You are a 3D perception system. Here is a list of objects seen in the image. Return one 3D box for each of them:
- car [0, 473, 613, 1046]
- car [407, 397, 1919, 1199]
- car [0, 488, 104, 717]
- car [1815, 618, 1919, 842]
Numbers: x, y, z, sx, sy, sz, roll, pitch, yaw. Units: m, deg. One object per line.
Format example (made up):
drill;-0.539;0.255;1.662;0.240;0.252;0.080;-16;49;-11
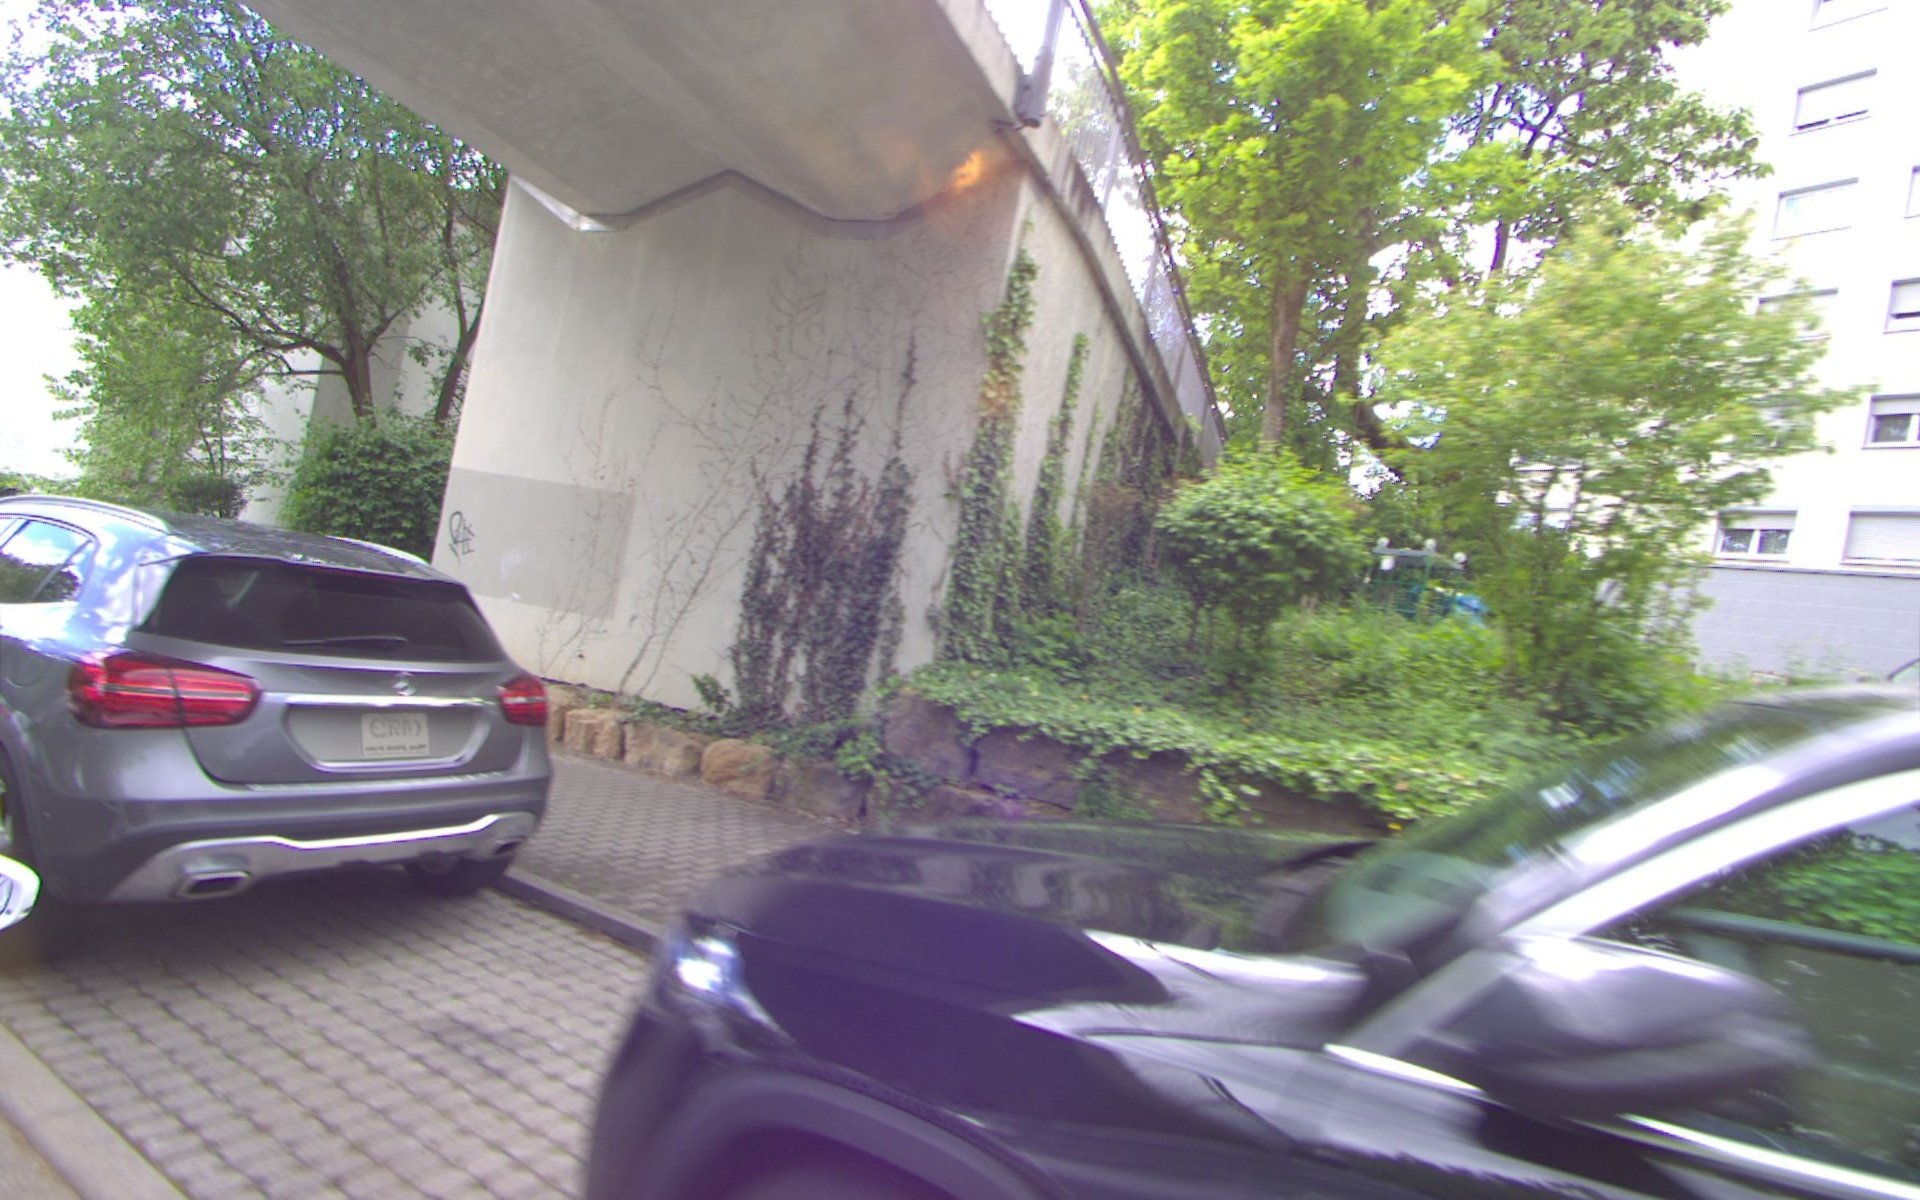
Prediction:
car;-3.689;0.323;4.473;4.049;1.513;1.703;7;-2;31
car;1.428;0.843;1.410;4.295;1.698;1.818;8;-1;30
car;-7.905;-0.191;7.187;3.274;1.513;1.566;8;-1;29
car;9.432;1.435;8.932;4.531;1.686;1.923;12;-3;-39
